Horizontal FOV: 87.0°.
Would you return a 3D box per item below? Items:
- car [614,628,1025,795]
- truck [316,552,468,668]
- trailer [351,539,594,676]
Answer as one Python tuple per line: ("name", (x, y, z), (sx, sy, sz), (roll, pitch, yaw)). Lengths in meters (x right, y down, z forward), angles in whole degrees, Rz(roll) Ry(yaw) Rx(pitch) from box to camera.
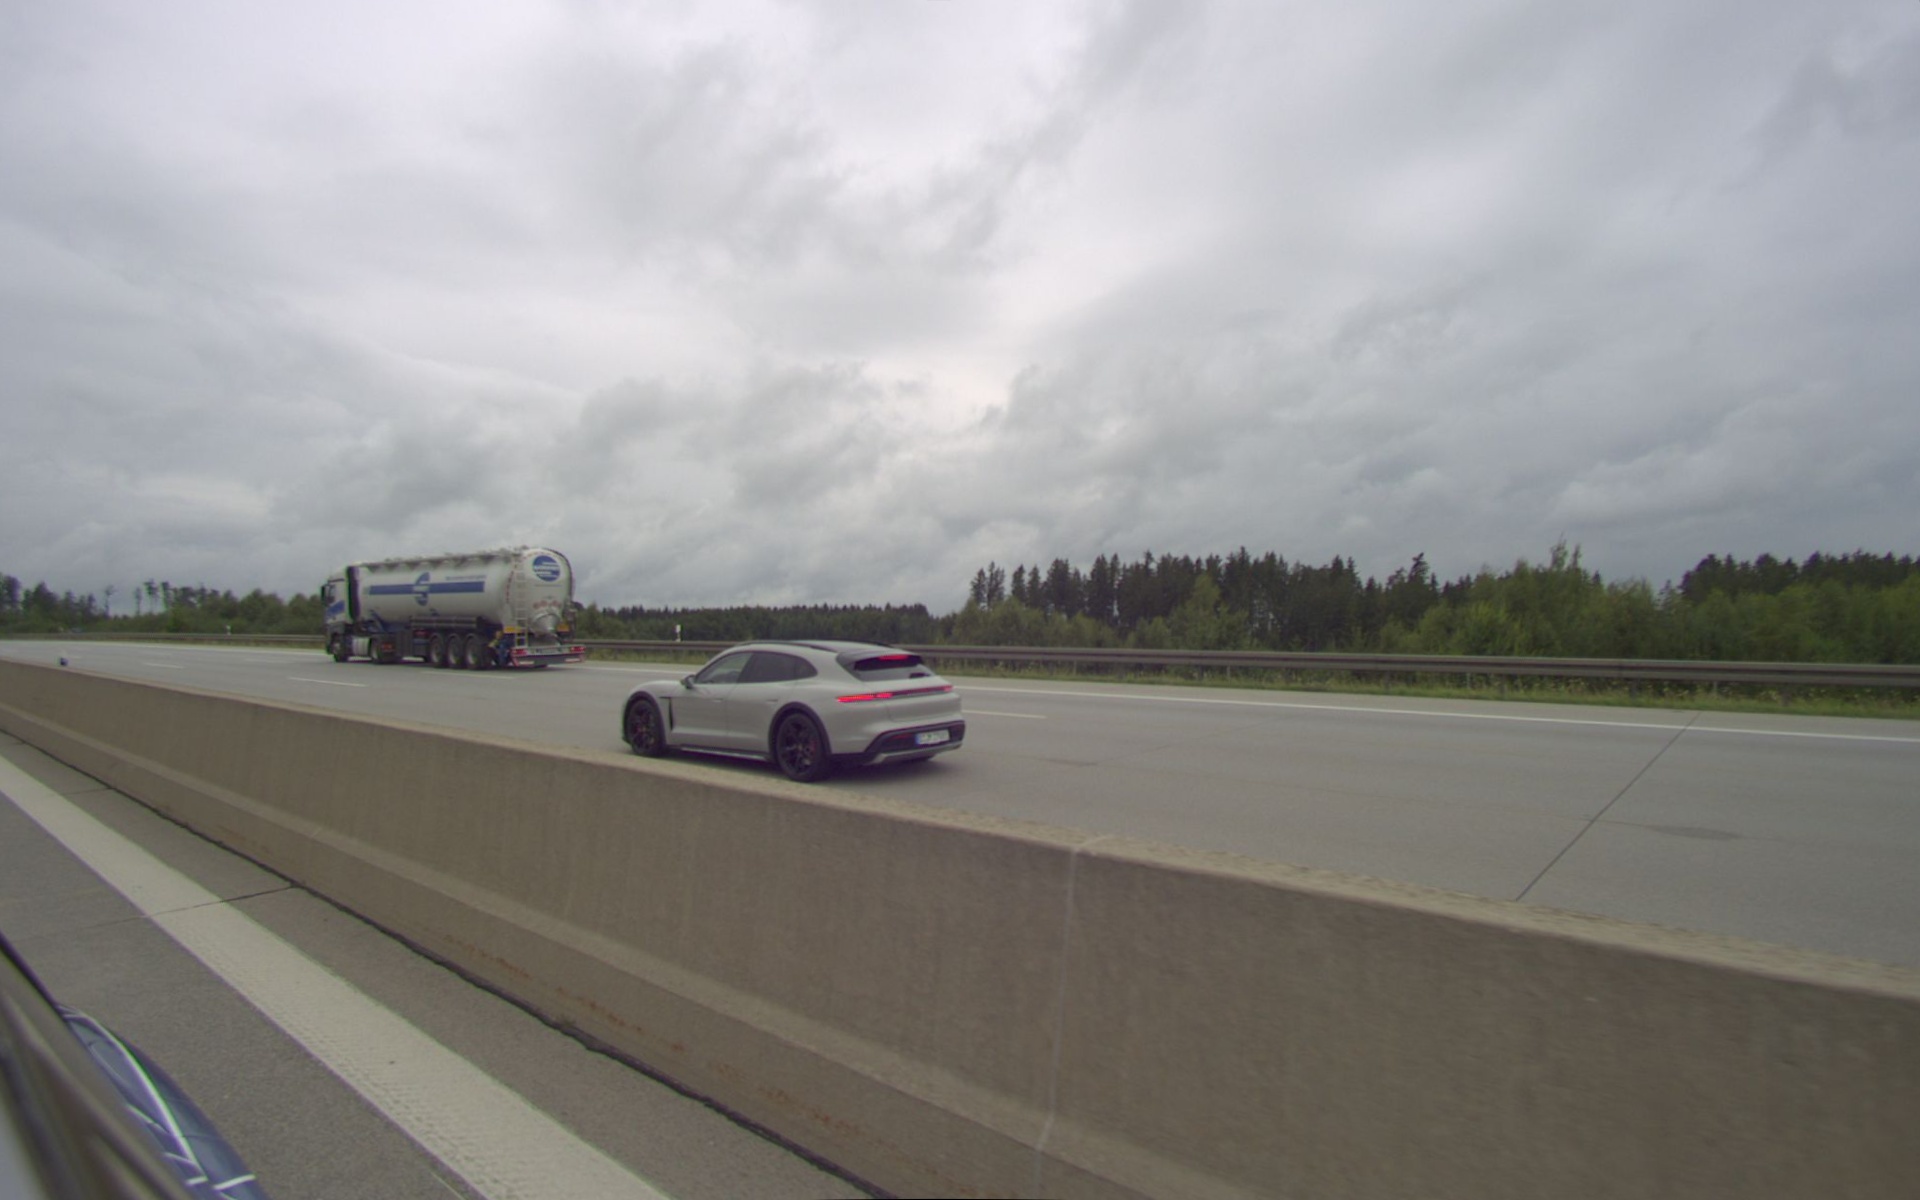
("car", (-1.768, 1.140, 11.604), (4.763, 1.452, 1.973), (-3, -1, 40))
("truck", (-21.798, 0.418, 38.687), (6.923, 4.029, 2.719), (-2, -1, 39))
("trailer", (-17.081, 0.309, 34.759), (12.279, 4.029, 2.731), (-1, -1, 40))
